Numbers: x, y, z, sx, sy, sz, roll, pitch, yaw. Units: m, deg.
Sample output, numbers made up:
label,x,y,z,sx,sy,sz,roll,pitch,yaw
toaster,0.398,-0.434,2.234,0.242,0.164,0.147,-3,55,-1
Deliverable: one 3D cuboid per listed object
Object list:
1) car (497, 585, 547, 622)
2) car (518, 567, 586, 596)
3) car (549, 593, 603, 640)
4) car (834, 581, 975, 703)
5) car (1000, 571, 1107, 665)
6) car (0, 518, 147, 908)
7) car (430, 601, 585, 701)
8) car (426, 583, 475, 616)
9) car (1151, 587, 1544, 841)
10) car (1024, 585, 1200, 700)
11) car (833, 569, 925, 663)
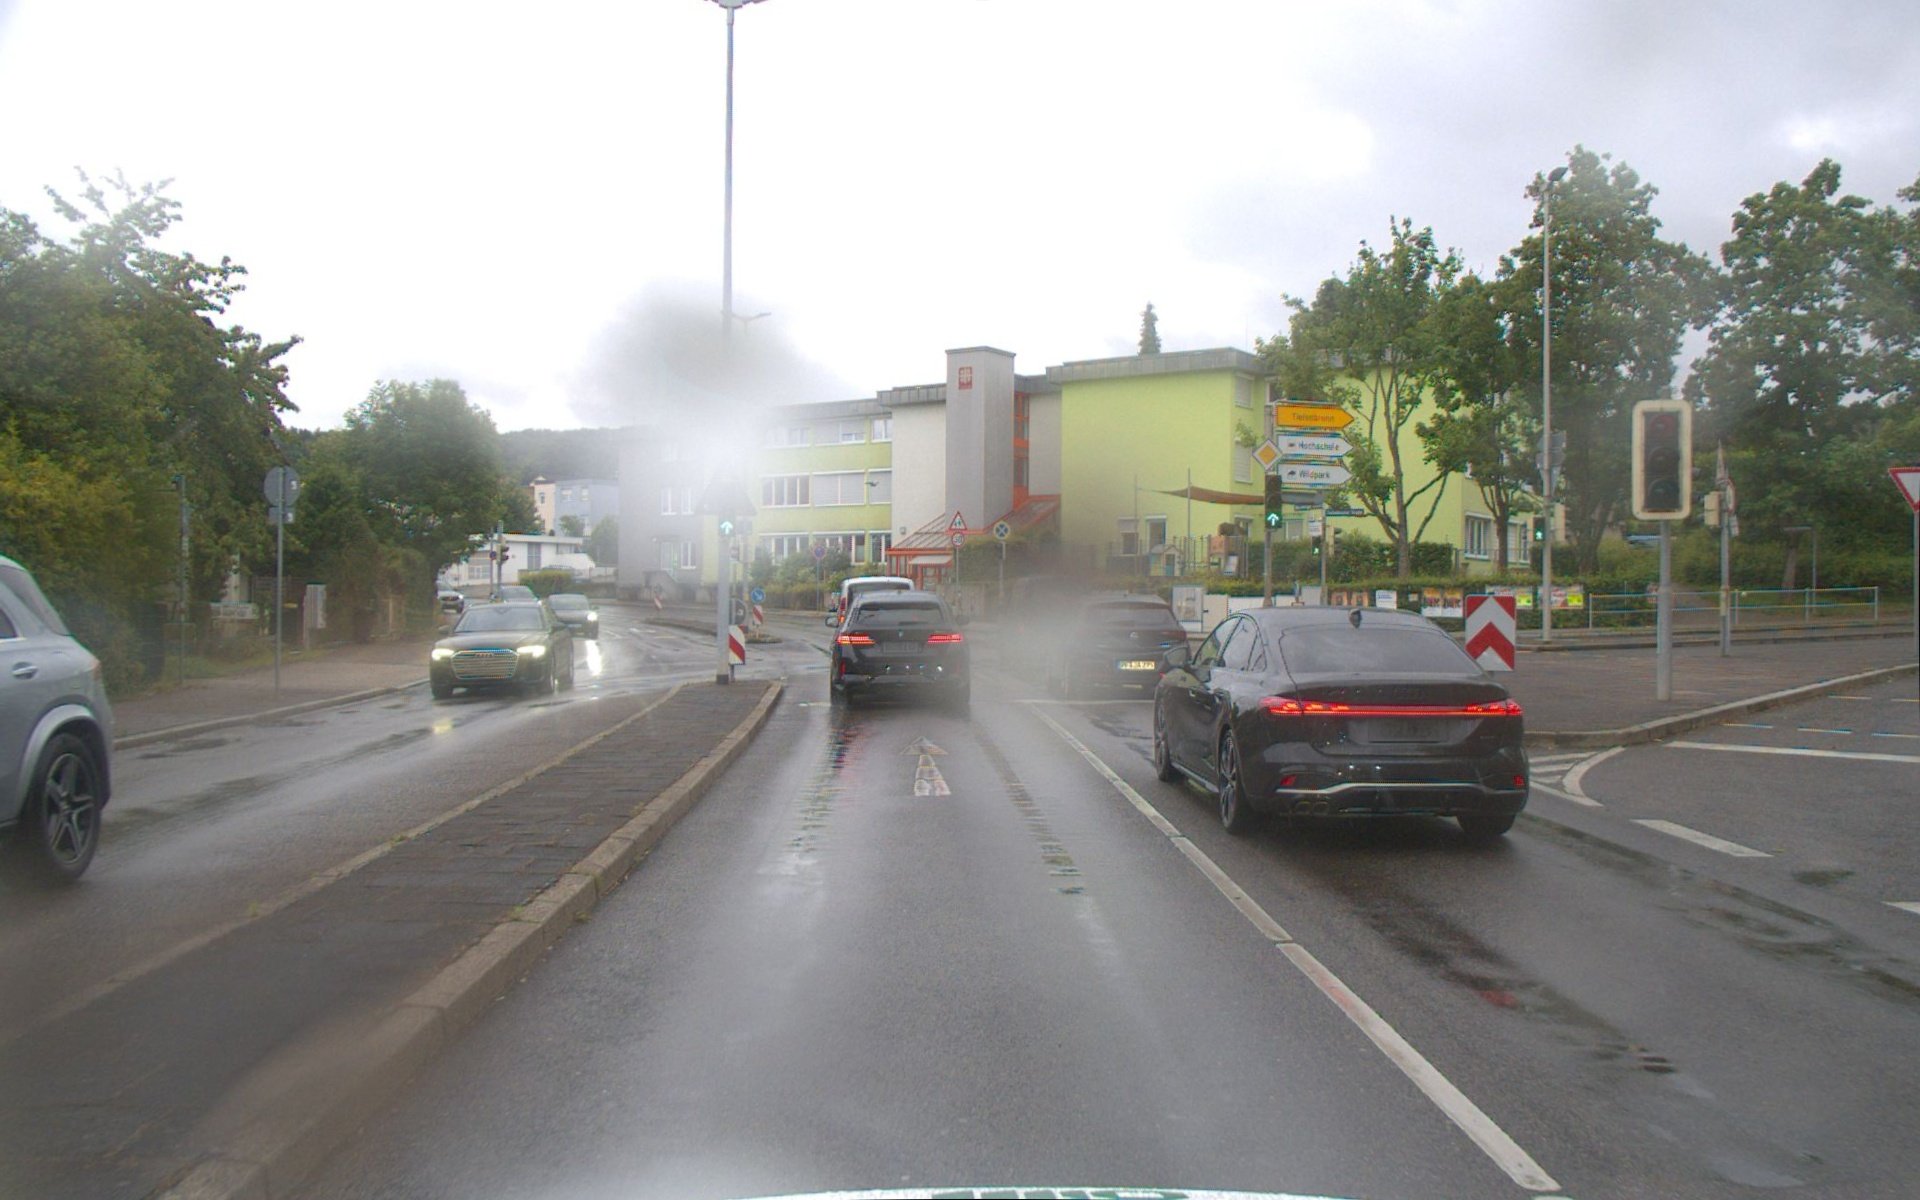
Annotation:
label,x,y,z,sx,sy,sz,roll,pitch,yaw
car,-19.918,0.137,75.148,1.823,1.592,3.975,-1,1,-21
car,-27.783,-1.284,112.561,4.328,1.802,1.989,-2,0,-19
car,-13.658,0.563,58.910,1.762,1.515,4.140,-2,0,-13
car,-0.846,0.509,22.891,1.650,1.532,3.768,-1,1,-7
car,1.848,0.311,33.769,1.747,1.764,4.084,-1,1,-3
car,-5.244,0.536,6.702,2.001,1.746,4.476,-1,1,-6
car,-7.372,0.775,27.345,1.704,1.462,4.551,-2,0,-6
car,-27.038,-0.012,87.668,1.604,1.609,3.733,-2,0,-31
car,2.513,0.643,11.852,1.672,1.452,4.507,0,1,-1
car,2.139,0.549,24.409,1.814,1.512,4.081,-1,1,-6
car,-1.864,0.303,36.840,1.684,1.876,4.080,2,1,-7
